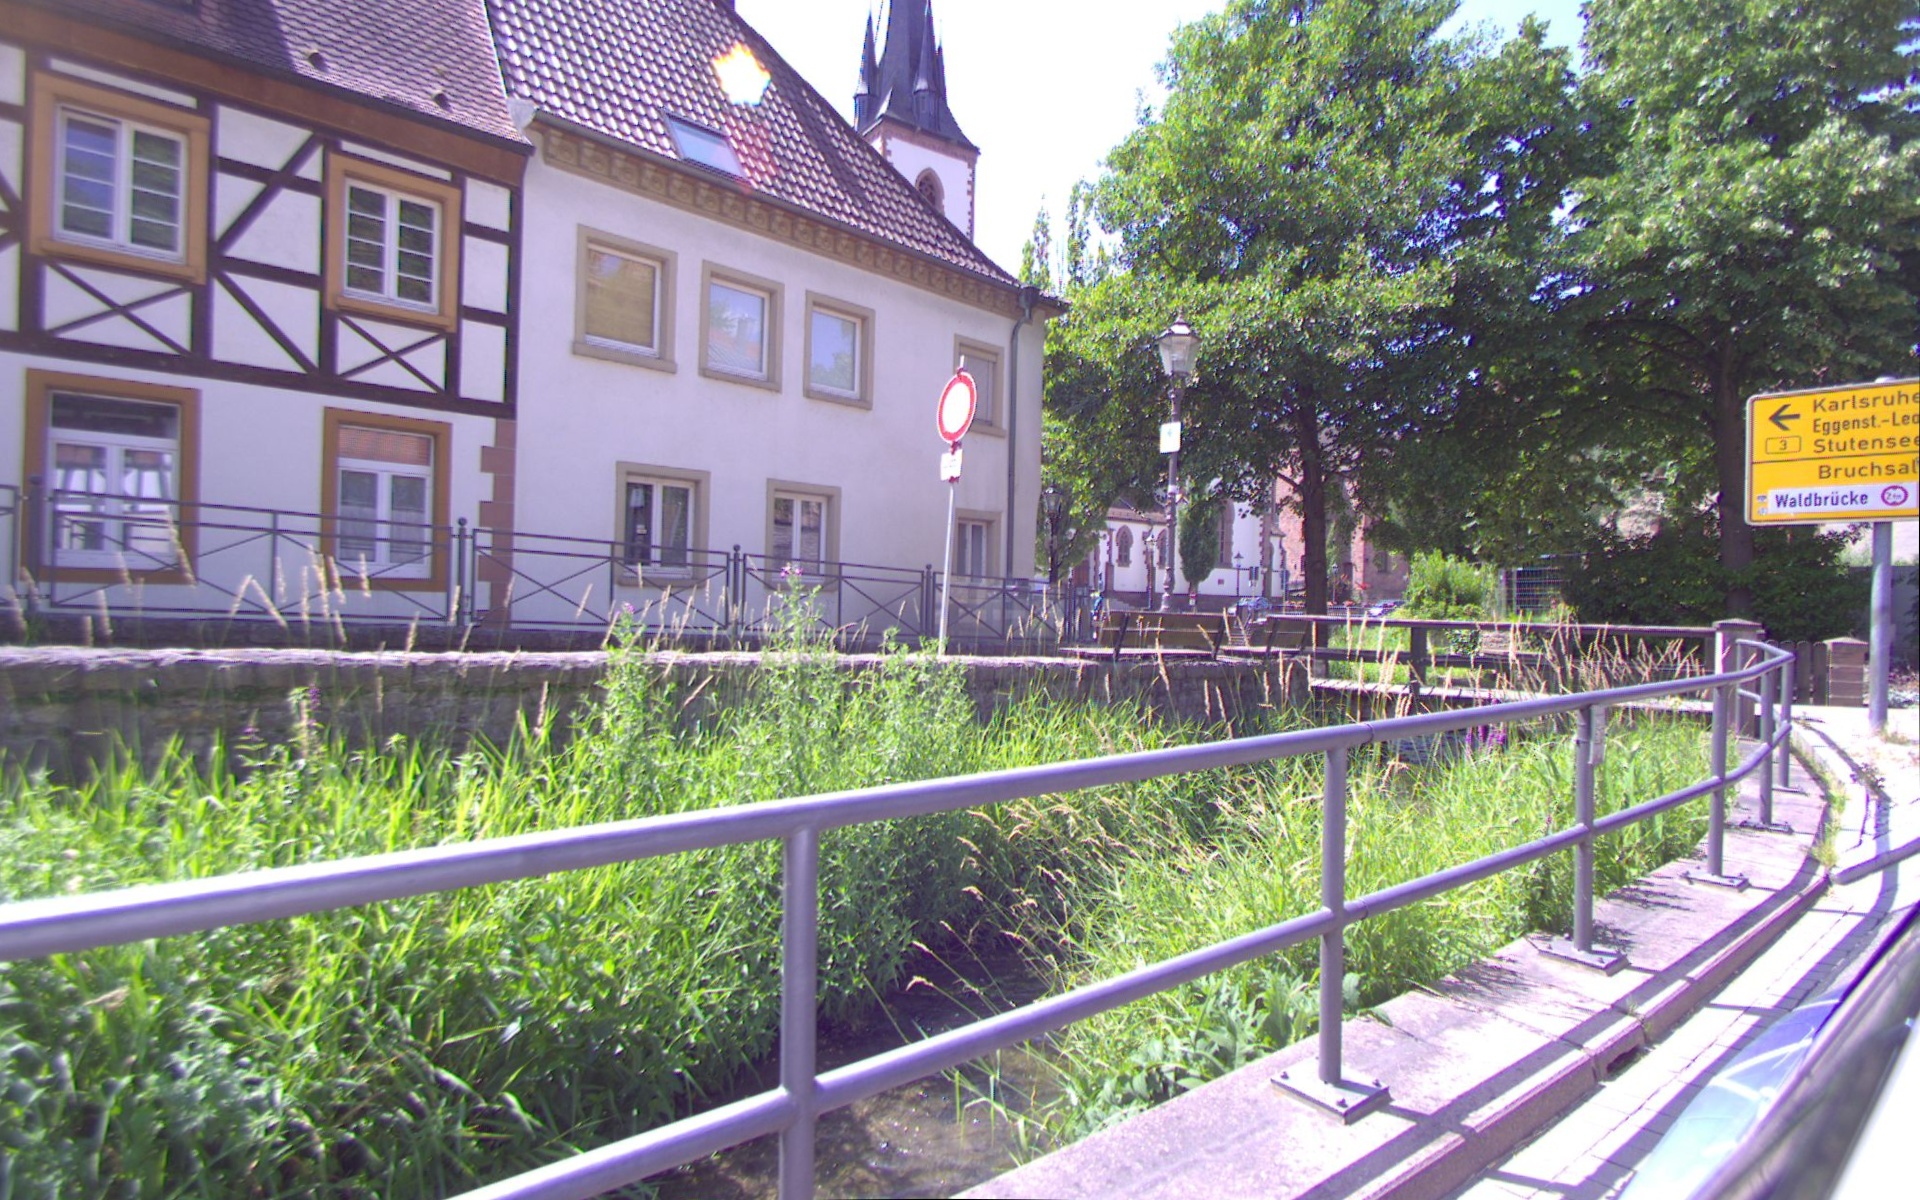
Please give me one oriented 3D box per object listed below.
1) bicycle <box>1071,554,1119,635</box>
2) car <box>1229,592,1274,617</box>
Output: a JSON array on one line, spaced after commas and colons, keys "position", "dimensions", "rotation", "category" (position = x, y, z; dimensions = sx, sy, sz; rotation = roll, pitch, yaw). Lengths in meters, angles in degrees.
[{"position": [3.640, -0.142, 27.129], "dimensions": [0.772, 2.039, 2.651], "rotation": [-2, -1, 18], "category": "bicycle"}, {"position": [18.302, 0.259, 63.488], "dimensions": [1.659, 1.523, 3.765], "rotation": [1, 0, 33], "category": "car"}]
